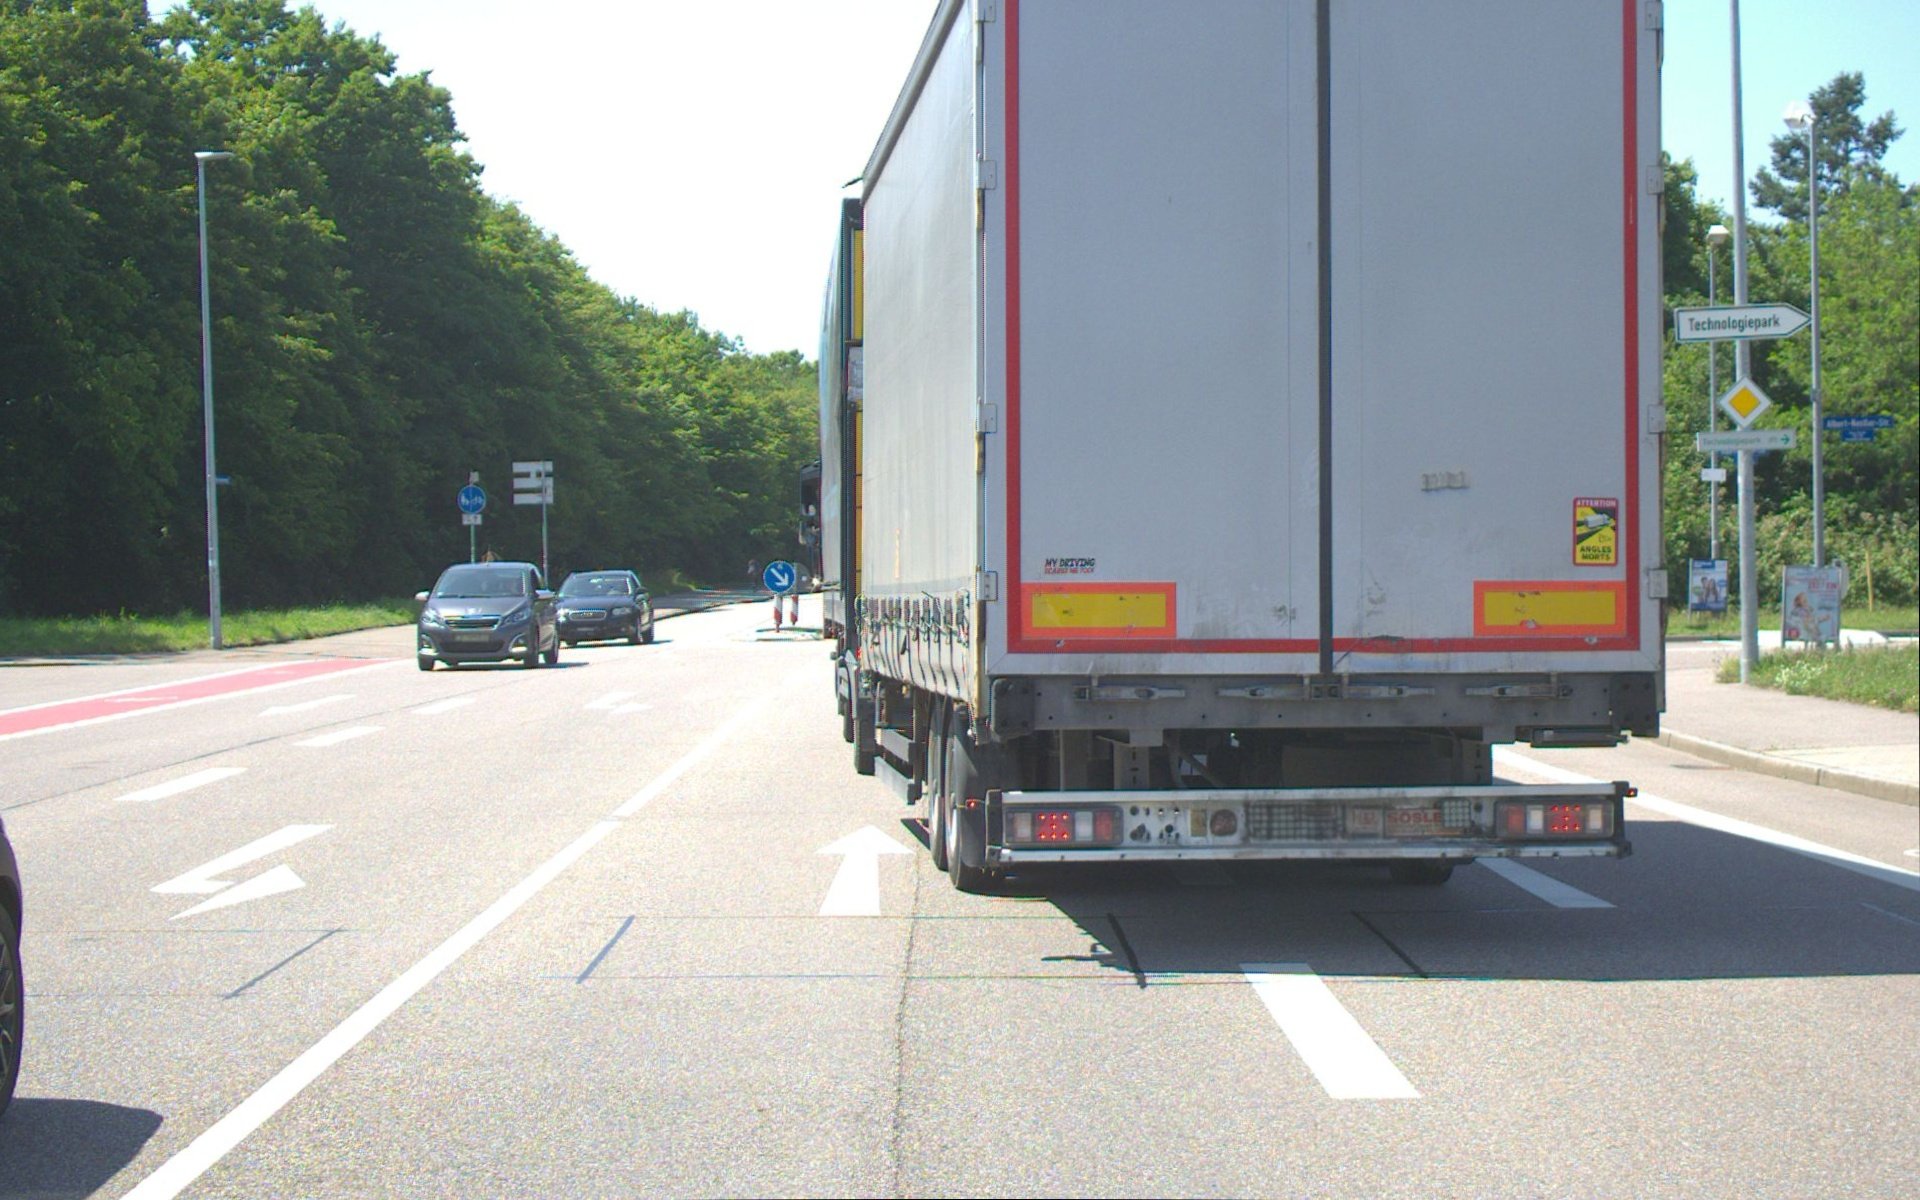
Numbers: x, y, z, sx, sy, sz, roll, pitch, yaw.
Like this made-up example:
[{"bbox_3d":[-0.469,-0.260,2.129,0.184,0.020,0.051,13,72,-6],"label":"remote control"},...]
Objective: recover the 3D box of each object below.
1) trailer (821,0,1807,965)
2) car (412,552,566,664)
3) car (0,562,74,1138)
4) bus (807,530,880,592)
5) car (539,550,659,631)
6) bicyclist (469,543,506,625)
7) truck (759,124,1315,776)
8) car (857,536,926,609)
[{"bbox_3d":[1.057,-0.840,16.925,3.077,4.056,9.810,0,1,-5],"label":"trailer"},{"bbox_3d":[-6.527,0.085,47.905,1.622,1.451,3.501,-2,1,0],"label":"car"},{"bbox_3d":[-3.314,0.665,7.434,1.723,1.457,3.990,0,1,1],"label":"car"},{"bbox_3d":[-6.216,-2.146,185.861,2.750,3.035,11.938,-2,1,3],"label":"bus"},{"bbox_3d":[-6.895,-0.211,66.059,1.744,1.400,4.441,-1,2,1],"label":"car"},{"bbox_3d":[-9.912,-0.333,72.171,0.665,1.700,0.769,0,1,0],"label":"bicyclist"},{"bbox_3d":[0.263,-0.995,25.509,3.076,4.056,7.961,0,1,-6],"label":"truck"},{"bbox_3d":[-1.819,-0.758,92.428,1.655,1.900,4.000,-1,1,2],"label":"car"}]
